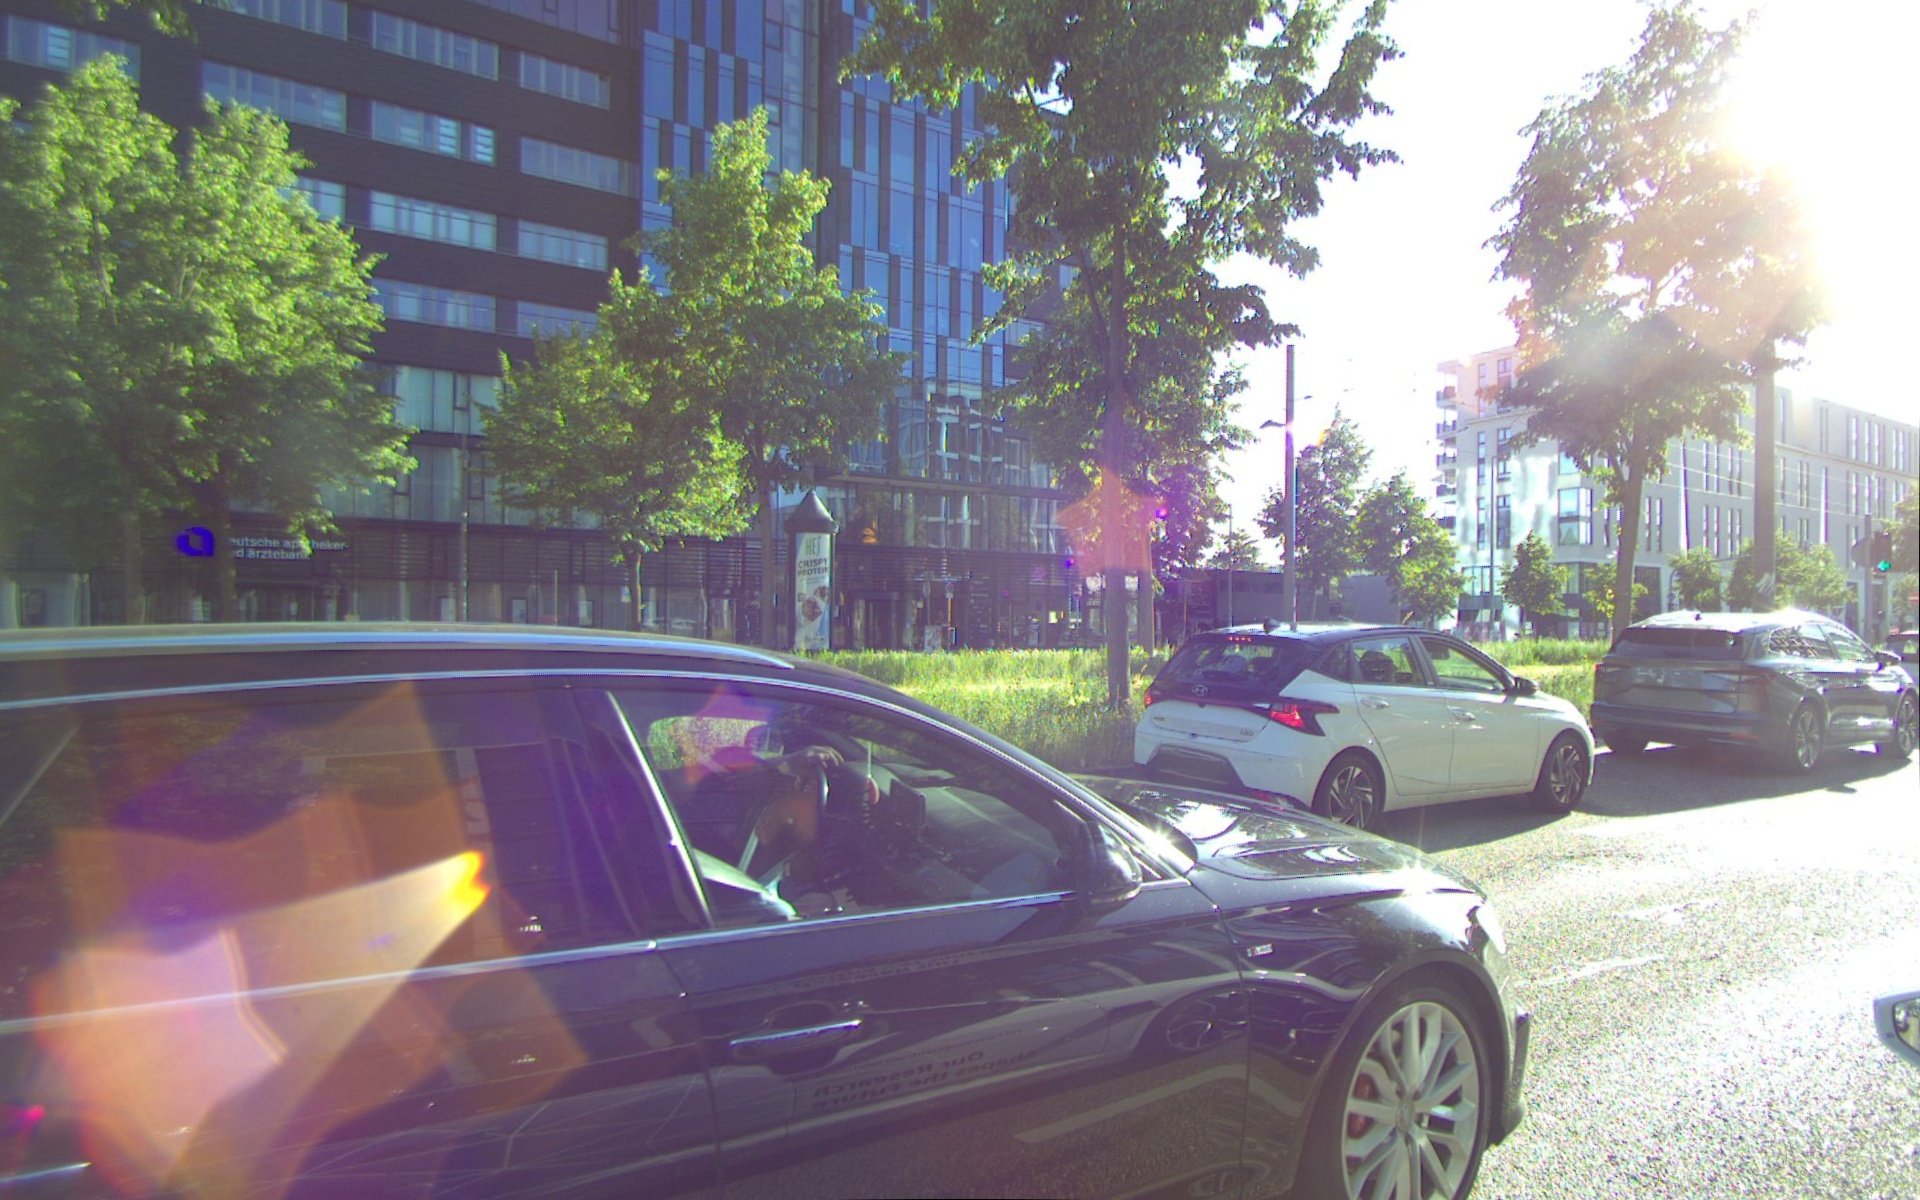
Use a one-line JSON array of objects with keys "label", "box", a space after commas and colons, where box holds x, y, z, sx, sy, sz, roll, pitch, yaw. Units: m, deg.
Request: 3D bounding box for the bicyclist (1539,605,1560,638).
[{"label": "bicyclist", "box": [39.092, 1.434, 66.608, 0.808, 2.120, 0.935, 1, -1, -30]}]

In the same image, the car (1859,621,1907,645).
[{"label": "car", "box": [79.433, 2.855, 86.400, 3.953, 2.040, 1.984, 1, -1, -30]}]

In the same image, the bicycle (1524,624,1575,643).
[{"label": "bicycle", "box": [39.078, 2.231, 66.587, 0.808, 1.206, 2.929, 1, -1, -29]}]

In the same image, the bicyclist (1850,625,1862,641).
[{"label": "bicyclist", "box": [87.040, 3.209, 97.556, 0.706, 1.549, 0.674, 1, -1, -30]}]

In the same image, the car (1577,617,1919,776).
[{"label": "car", "box": [9.079, 0.988, 11.312, 4.517, 1.466, 1.790, 2, -2, -31]}]

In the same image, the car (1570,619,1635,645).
[{"label": "car", "box": [38.883, 1.930, 60.752, 3.953, 1.540, 1.756, 1, -1, -30]}]

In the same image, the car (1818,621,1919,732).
[{"label": "car", "box": [15.424, 1.160, 15.721, 4.519, 1.503, 1.788, 1, 2, -33]}]

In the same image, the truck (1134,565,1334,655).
[{"label": "truck", "box": [13.053, 0.550, 47.334, 10.094, 3.904, 2.877, 1, -1, -31]}]

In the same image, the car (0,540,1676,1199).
[{"label": "car", "box": [-0.617, 0.723, 2.239, 4.911, 1.504, 1.864, 1, -1, -32]}]

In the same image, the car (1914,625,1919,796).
[{"label": "car", "box": [10.430, 0.972, 8.855, 4.288, 1.445, 1.833, 1, -1, -31]}]

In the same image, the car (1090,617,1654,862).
[{"label": "car", "box": [3.372, 0.896, 7.973, 4.515, 1.466, 1.791, 1, -1, -30]}]

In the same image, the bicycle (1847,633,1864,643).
[{"label": "bicycle", "box": [86.940, 3.673, 97.493, 1.933, 1.001, 0.674, 1, -1, -31]}]
